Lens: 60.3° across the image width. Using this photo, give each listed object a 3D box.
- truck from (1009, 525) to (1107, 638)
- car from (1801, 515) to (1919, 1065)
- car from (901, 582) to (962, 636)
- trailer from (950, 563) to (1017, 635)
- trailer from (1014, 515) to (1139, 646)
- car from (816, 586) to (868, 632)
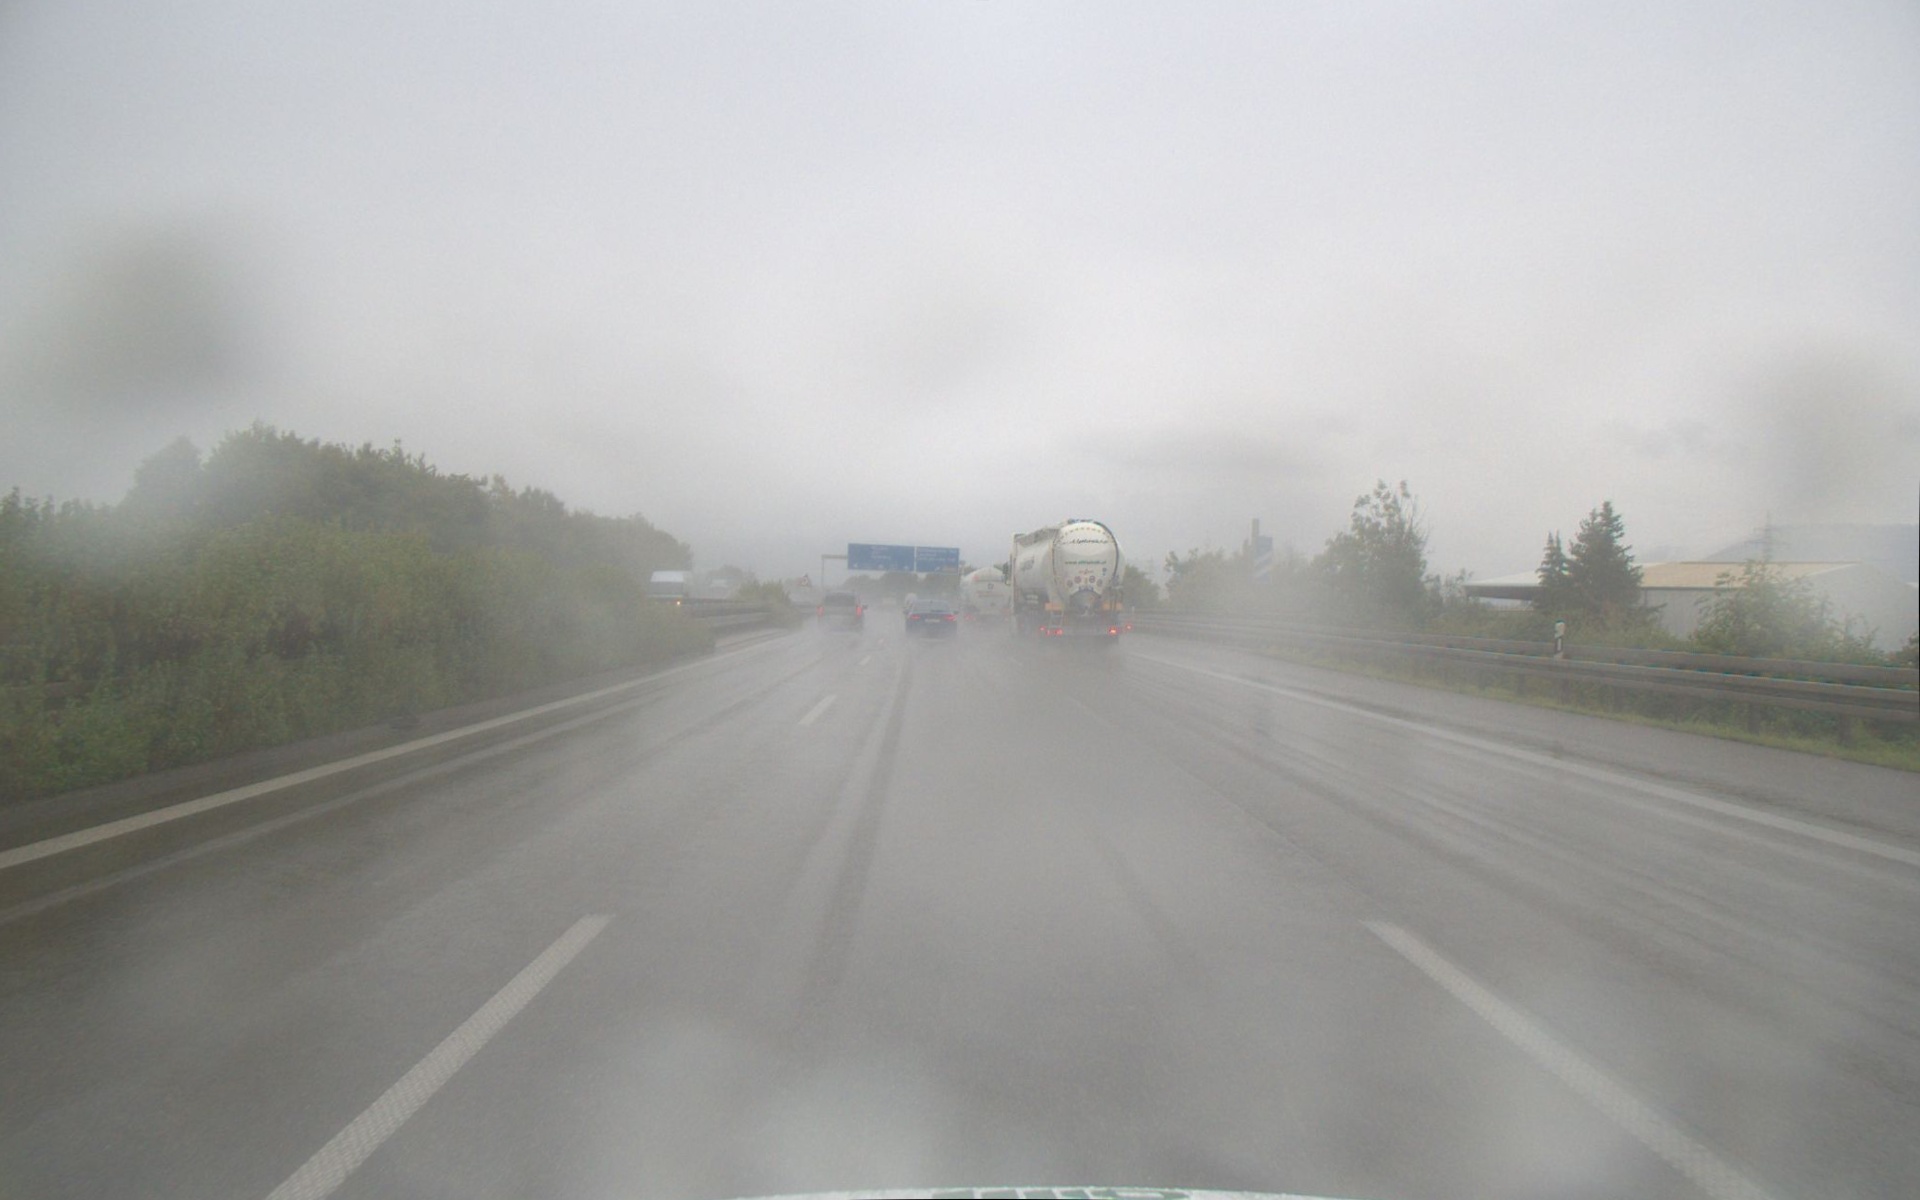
[{"bbox_3d":[3.508,-0.657,60.926,3.041,3.873,7.211,1,0,-1],"label":"truck"},{"bbox_3d":[4.357,0.630,3.243,2.408,1.776,5.717,1,0,-1],"label":"car"},{"bbox_3d":[-0.945,0.282,56.758,1.938,1.787,4.482,0,0,1],"label":"car"},{"bbox_3d":[1.278,-0.066,95.004,2.946,3.915,8.615,1,0,-5],"label":"trailer"},{"bbox_3d":[3.550,-0.572,53.523,3.123,3.734,11.665,1,0,0],"label":"trailer"},{"bbox_3d":[-4.768,0.340,67.347,1.886,1.771,4.402,1,0,-2],"label":"car"}]
